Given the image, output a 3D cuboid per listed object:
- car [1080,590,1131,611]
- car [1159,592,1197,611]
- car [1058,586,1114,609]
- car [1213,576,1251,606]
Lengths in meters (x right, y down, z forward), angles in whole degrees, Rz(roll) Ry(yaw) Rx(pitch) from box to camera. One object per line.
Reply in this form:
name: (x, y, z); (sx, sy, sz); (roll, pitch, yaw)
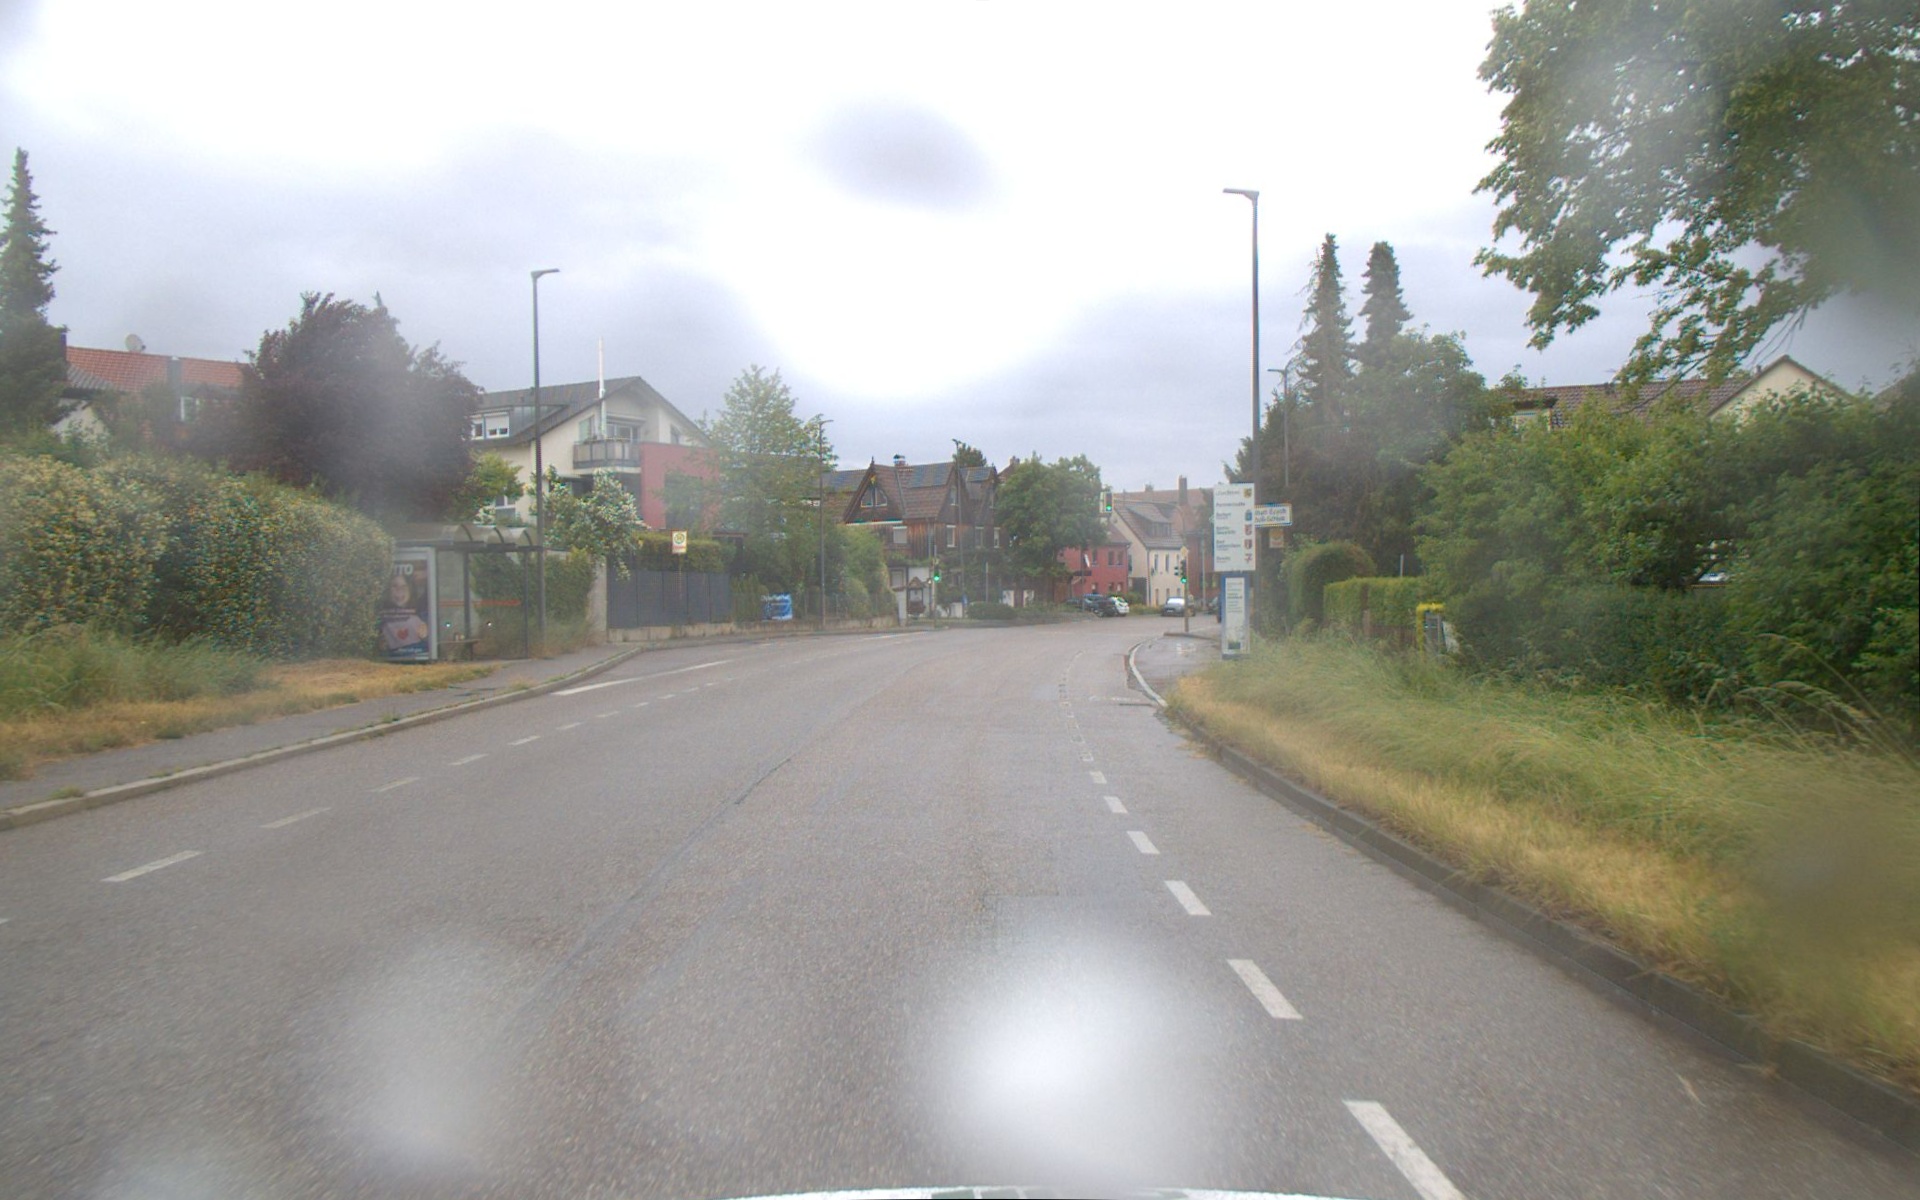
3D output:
car: (10.715, 0.027, 122.179); (3.396, 1.505, 1.588); (-1, 0, 29)
car: (16.508, 0.070, 125.034); (1.595, 1.379, 4.107); (1, 1, 26)
car: (9.024, -0.188, 118.427); (3.510, 1.532, 1.851); (2, 1, 31)
car: (17.998, -0.574, 109.289); (1.890, 1.935, 4.797); (1, 0, 16)
